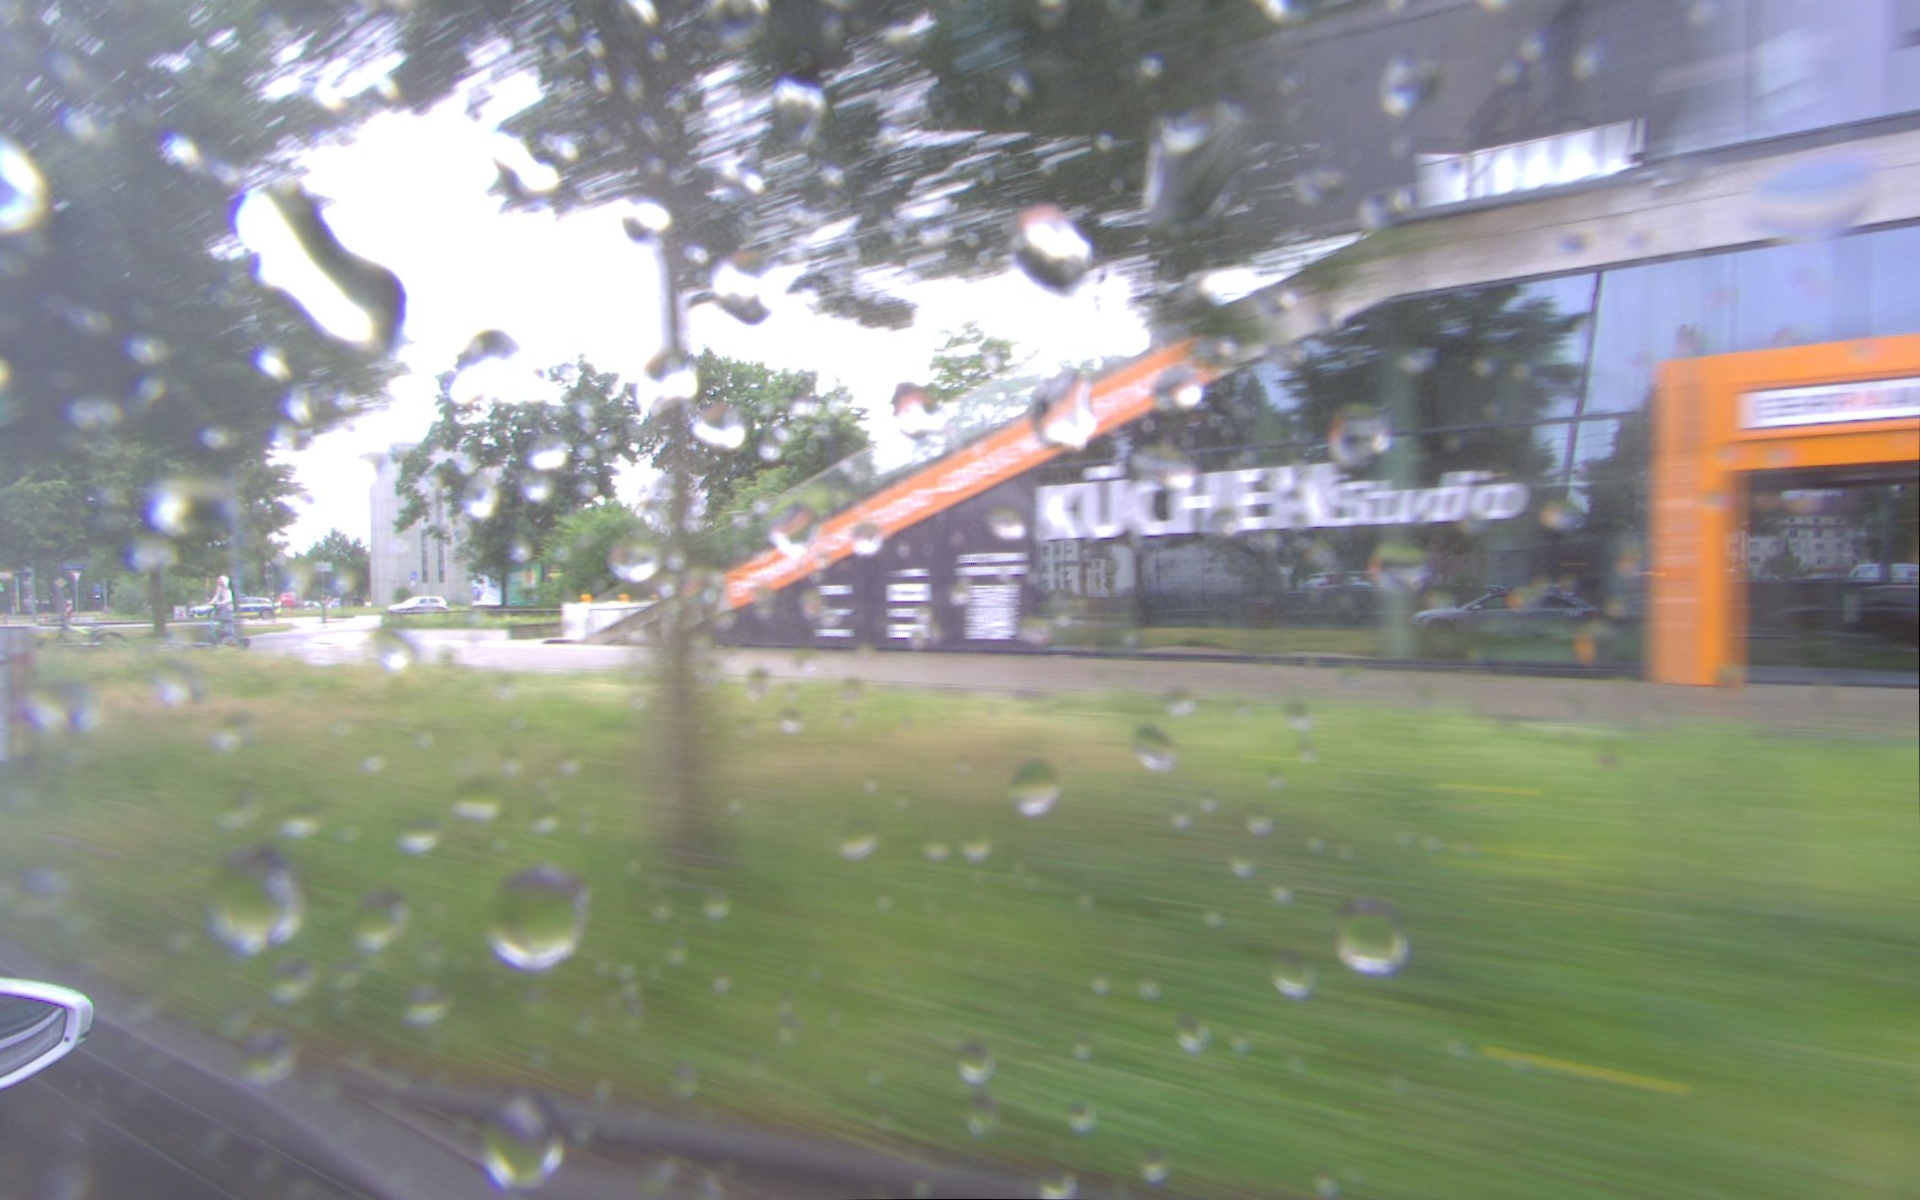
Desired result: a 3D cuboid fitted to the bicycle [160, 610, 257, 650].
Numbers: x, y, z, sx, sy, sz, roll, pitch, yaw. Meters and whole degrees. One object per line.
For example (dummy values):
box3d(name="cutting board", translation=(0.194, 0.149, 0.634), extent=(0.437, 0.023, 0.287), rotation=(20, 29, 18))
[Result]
box3d(name="bicycle", translation=(-15.248, 0.609, 20.327), extent=(1.972, 0.797, 0.454), rotation=(0, -1, 15))

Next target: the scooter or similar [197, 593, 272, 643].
box3d(name="scooter or similar", translation=(-19.198, 0.497, 26.525), extent=(0.440, 1.275, 1.586), rotation=(0, -2, 26))

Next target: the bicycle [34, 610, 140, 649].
box3d(name="bicycle", translation=(-18.134, 0.617, 20.812), extent=(1.823, 0.797, 0.380), rotation=(0, -1, -2))

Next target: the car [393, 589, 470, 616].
box3d(name="car", translation=(-39.707, 0.239, 75.386), extent=(1.975, 1.874, 4.743), rotation=(-1, -2, 38))

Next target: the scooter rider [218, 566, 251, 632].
box3d(name="scooter rider", translation=(-19.221, -0.037, 26.527), extent=(0.427, 1.732, 0.531), rotation=(0, 2, 26))

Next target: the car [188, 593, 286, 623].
box3d(name="car", translation=(-46.293, 0.497, 64.214), extent=(1.974, 1.876, 4.744), rotation=(0, 1, 36))
